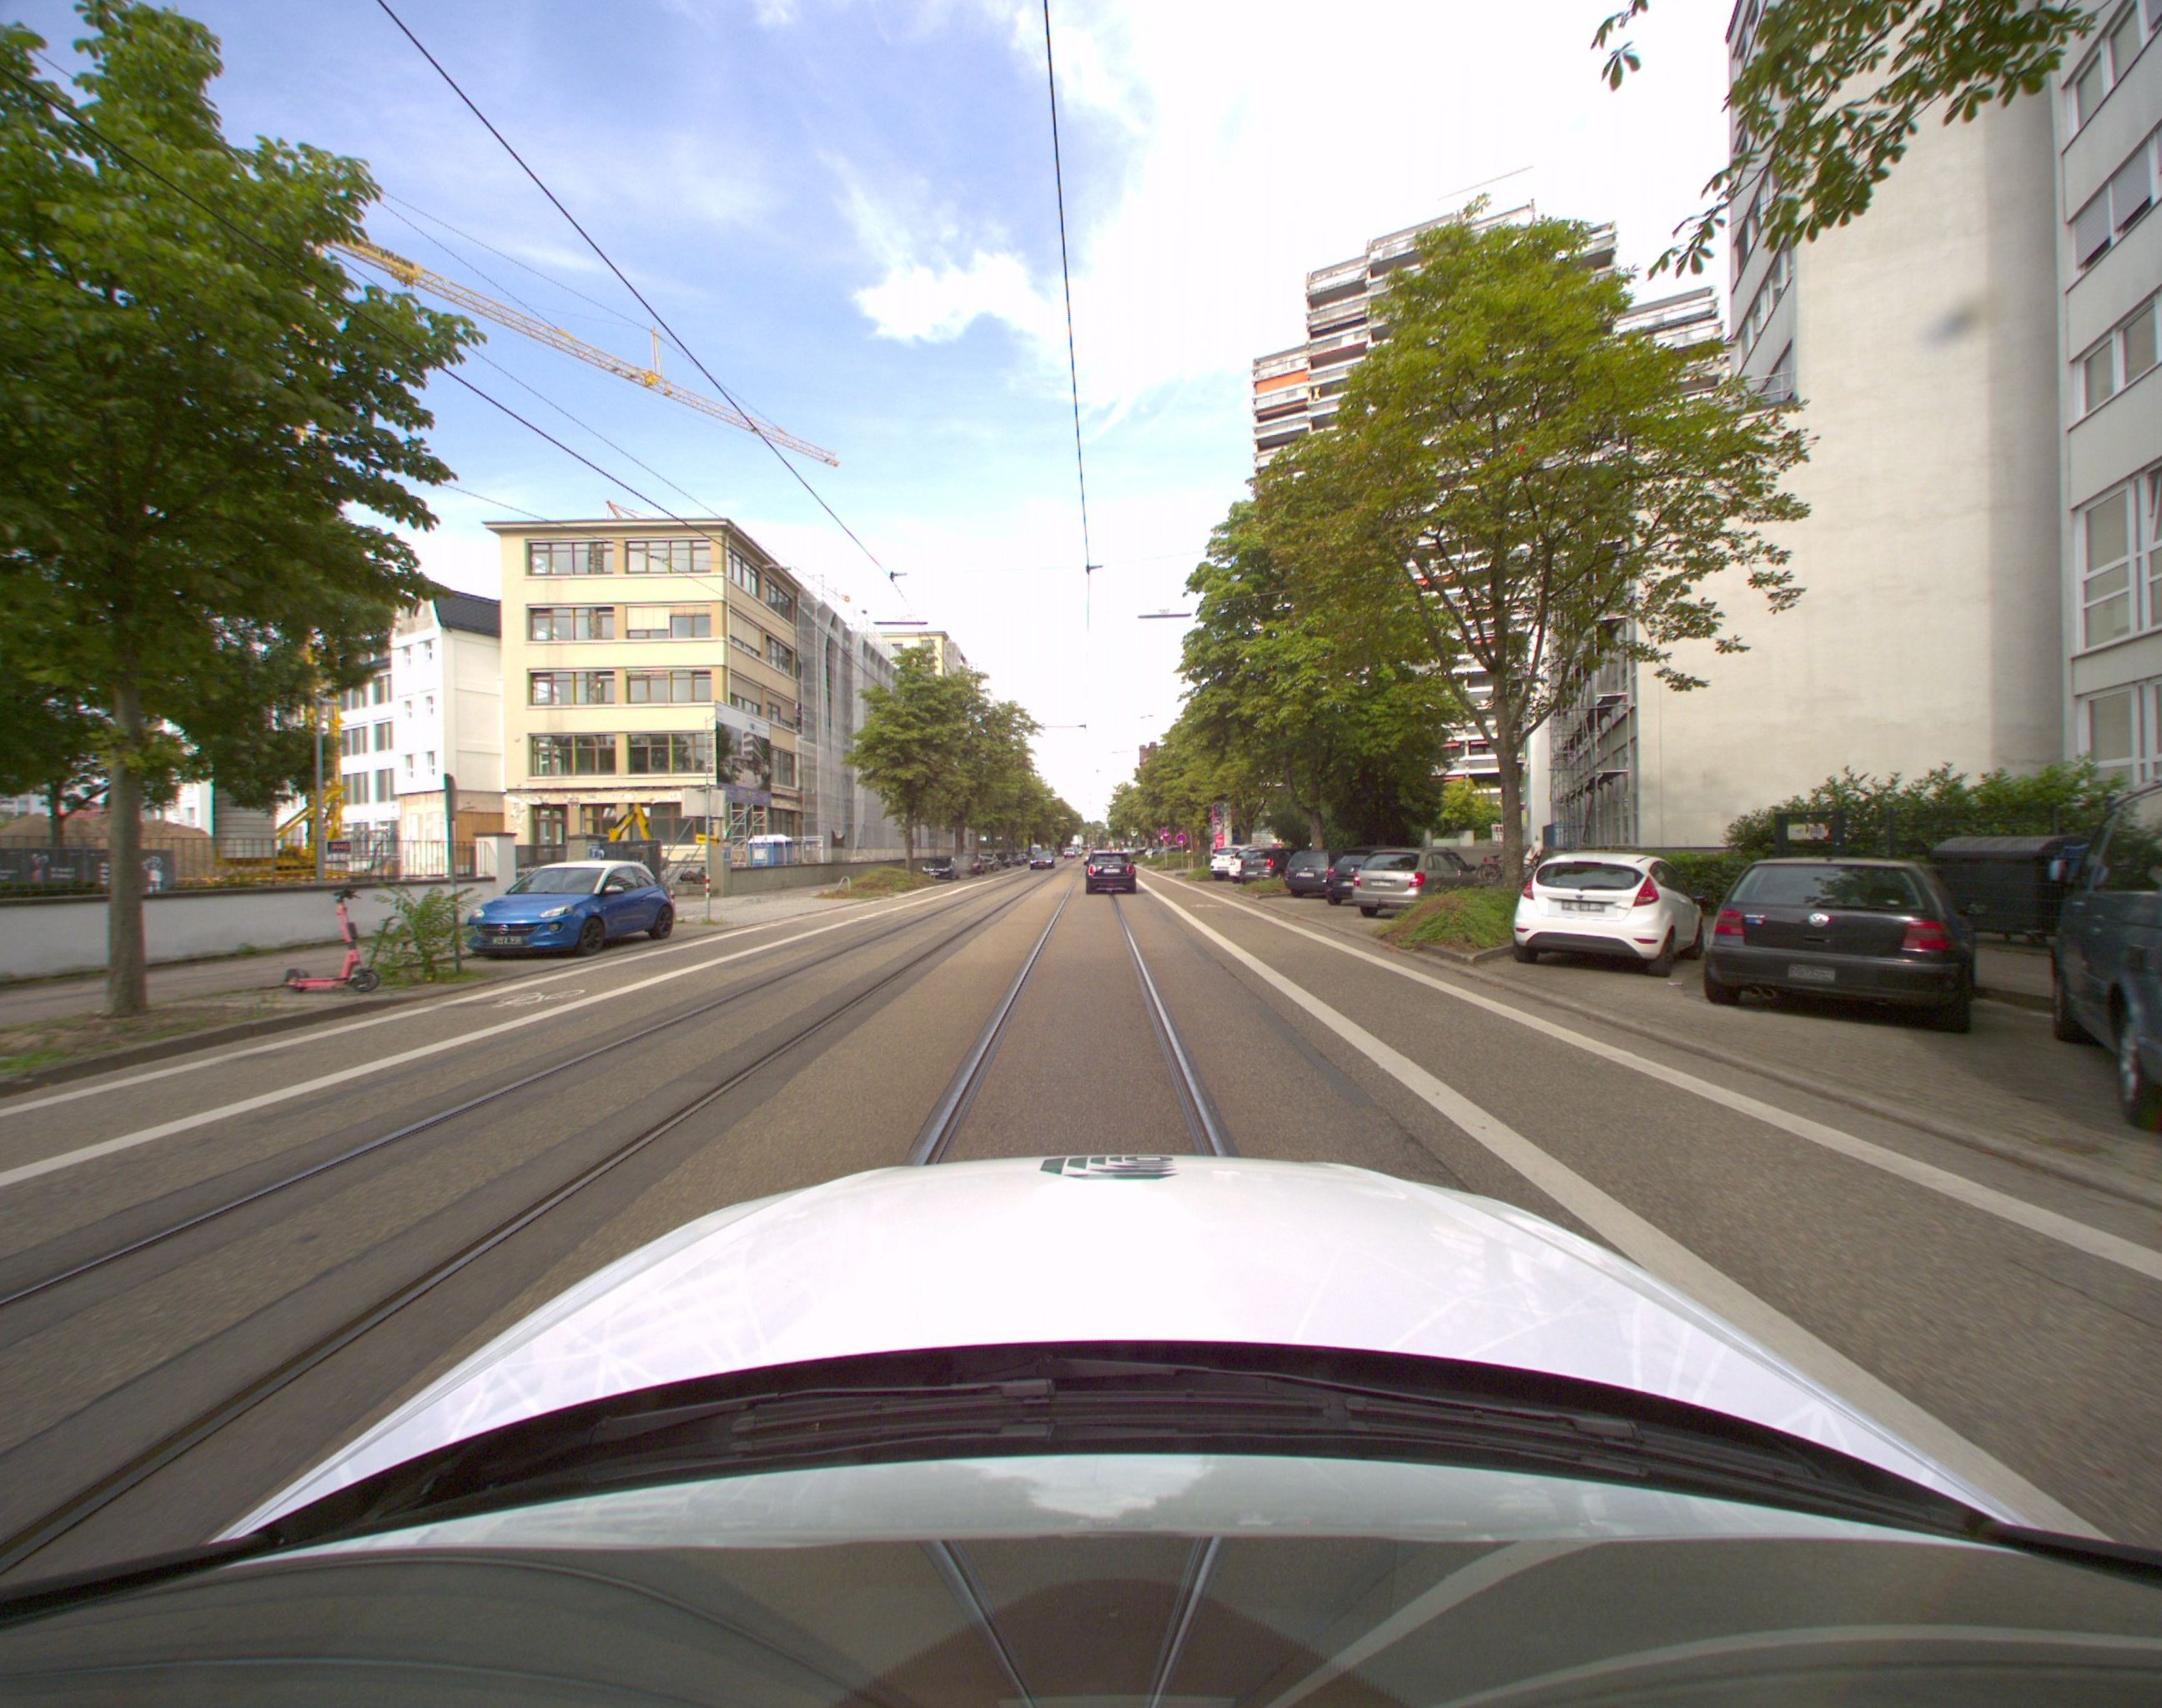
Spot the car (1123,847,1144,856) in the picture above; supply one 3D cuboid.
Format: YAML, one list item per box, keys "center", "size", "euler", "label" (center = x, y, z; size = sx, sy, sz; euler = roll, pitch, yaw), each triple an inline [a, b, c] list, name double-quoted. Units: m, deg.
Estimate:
- center: [10.258, -0.478, 160.411]
  size: [3.977, 1.910, 1.998]
  euler: [0, 0, -3]
  label: "car"

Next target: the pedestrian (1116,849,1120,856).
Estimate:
- center: [8.540, -0.355, 188.039]
  size: [0.721, 1.646, 0.769]
  euler: [0, 0, 11]
  label: "pedestrian"

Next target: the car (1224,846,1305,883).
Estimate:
- center: [7.811, 0.419, 34.525]
  size: [3.464, 1.442, 1.542]
  euler: [-1, 0, -38]
  label: "car"

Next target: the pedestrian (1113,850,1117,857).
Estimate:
- center: [7.638, -0.086, 182.119]
  size: [0.721, 1.646, 0.769]
  euler: [0, 0, 11]
  label: "pedestrian"

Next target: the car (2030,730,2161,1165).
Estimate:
- center: [7.104, 0.423, 4.697]
  size: [4.300, 2.015, 1.809]
  euler: [0, 0, -45]
  label: "car"

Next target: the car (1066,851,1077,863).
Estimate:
- center: [-1.620, 0.500, 139.726]
  size: [1.796, 1.823, 4.484]
  euler: [-2, 0, 0]
  label: "car"

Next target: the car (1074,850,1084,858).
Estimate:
- center: [-0.426, -0.029, 159.265]
  size: [1.796, 1.622, 4.484]
  euler: [-2, 0, 0]
  label: "car"

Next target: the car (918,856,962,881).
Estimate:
- center: [-8.190, 0.816, 47.619]
  size: [1.796, 1.374, 4.031]
  euler: [-2, 0, 0]
  label: "car"

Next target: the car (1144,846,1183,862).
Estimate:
- center: [8.947, -0.023, 88.594]
  size: [3.977, 1.627, 1.883]
  euler: [-1, 0, -3]
  label: "car"

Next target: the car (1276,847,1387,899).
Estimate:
- center: [7.664, 0.539, 24.767]
  size: [3.761, 1.458, 1.620]
  euler: [0, 0, -45]
  label: "car"

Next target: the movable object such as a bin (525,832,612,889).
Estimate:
- center: [-19.286, 0.244, 30.733]
  size: [1.978, 2.067, 1.962]
  euler: [-1, 0, 3]
  label: "movable object such as a bin"

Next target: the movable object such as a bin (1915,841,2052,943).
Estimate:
- center: [14.177, 0.556, 12.844]
  size: [1.106, 1.523, 1.085]
  euler: [0, 0, 24]
  label: "movable object such as a bin"

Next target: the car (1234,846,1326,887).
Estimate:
- center: [7.718, 0.449, 31.423]
  size: [3.552, 1.442, 1.605]
  euler: [-1, 0, -38]
  label: "car"

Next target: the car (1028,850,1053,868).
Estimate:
- center: [-3.299, 0.401, 66.955]
  size: [1.829, 1.448, 4.553]
  euler: [-1, 0, 0]
  label: "car"

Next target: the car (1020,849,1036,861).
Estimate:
- center: [-6.975, 0.139, 108.220]
  size: [1.796, 1.583, 4.031]
  euler: [-2, 0, 0]
  label: "car"

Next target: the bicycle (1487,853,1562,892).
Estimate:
- center: [13.518, 0.571, 24.849]
  size: [1.948, 1.128, 0.542]
  euler: [-2, -1, 30]
  label: "bicycle"

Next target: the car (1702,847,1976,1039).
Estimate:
- center: [7.526, 0.668, 8.166]
  size: [1.656, 1.460, 3.852]
  euler: [0, 0, 43]
  label: "car"

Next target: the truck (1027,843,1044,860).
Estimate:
- center: [-6.773, -0.402, 121.319]
  size: [2.064, 2.470, 4.898]
  euler: [-2, 0, 0]
  label: "truck"

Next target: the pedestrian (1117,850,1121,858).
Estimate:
- center: [7.616, 0.028, 162.987]
  size: [0.723, 1.646, 0.767]
  euler: [0, 0, 2]
  label: "pedestrian"

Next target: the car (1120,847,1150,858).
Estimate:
- center: [7.551, -0.210, 114.228]
  size: [3.977, 1.508, 1.883]
  euler: [-1, 0, -3]
  label: "car"

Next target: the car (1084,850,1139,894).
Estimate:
- center: [0.996, 0.575, 28.545]
  size: [1.787, 1.423, 4.000]
  euler: [0, 0, 0]
  label: "car"

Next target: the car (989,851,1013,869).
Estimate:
- center: [-7.617, 0.535, 77.554]
  size: [1.796, 1.583, 4.031]
  euler: [-2, 0, 0]
  label: "car"

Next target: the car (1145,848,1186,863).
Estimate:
- center: [8.638, 0.129, 83.190]
  size: [3.977, 1.425, 1.883]
  euler: [-1, 0, -3]
  label: "car"

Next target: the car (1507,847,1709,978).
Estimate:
- center: [7.239, 0.640, 11.020]
  size: [1.620, 1.460, 3.852]
  euler: [0, 0, 43]
  label: "car"

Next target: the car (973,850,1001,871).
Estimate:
- center: [-7.689, 0.531, 66.883]
  size: [1.796, 1.583, 4.031]
  euler: [-2, 0, 0]
  label: "car"

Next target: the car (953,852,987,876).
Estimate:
- center: [-7.867, 0.689, 58.012]
  size: [1.796, 1.583, 4.031]
  euler: [-2, 0, 0]
  label: "car"

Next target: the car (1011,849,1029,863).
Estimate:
- center: [-7.248, 0.244, 96.608]
  size: [1.796, 1.583, 4.031]
  euler: [-2, 0, 0]
  label: "car"

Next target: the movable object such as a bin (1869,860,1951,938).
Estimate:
- center: [12.273, 0.651, 12.071]
  size: [0.646, 1.103, 0.574]
  euler: [0, 0, 9]
  label: "movable object such as a bin"

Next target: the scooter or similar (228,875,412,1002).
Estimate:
- center: [-8.783, 0.953, 9.434]
  size: [1.438, 1.344, 0.700]
  euler: [-2, 0, 2]
  label: "scooter or similar"

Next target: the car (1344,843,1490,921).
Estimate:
- center: [7.432, 0.545, 17.849]
  size: [3.761, 1.522, 1.620]
  euler: [0, 0, -45]
  label: "car"

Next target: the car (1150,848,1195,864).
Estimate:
- center: [8.530, 0.195, 76.288]
  size: [3.977, 1.425, 1.883]
  euler: [-1, 0, -3]
  label: "car"

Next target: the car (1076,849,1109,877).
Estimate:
- center: [0.673, 0.492, 46.297]
  size: [1.787, 1.470, 4.001]
  euler: [1, 0, 1]
  label: "car"

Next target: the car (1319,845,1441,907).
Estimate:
- center: [8.066, 0.534, 21.803]
  size: [3.761, 1.522, 1.620]
  euler: [0, 0, -45]
  label: "car"

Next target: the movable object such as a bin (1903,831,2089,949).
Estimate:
- center: [12.453, 0.458, 11.152]
  size: [1.065, 1.508, 1.335]
  euler: [0, 0, 1]
  label: "movable object such as a bin"

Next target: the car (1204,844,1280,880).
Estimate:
- center: [7.465, 0.358, 37.594]
  size: [3.464, 1.573, 1.542]
  euler: [-1, 0, -38]
  label: "car"

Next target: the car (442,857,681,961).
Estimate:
- center: [-8.569, 0.823, 13.857]
  size: [1.687, 1.487, 3.677]
  euler: [0, 0, 0]
  label: "car"

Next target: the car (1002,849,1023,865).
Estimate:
- center: [-7.345, 0.321, 87.722]
  size: [1.796, 1.583, 4.031]
  euler: [-2, 0, 0]
  label: "car"
